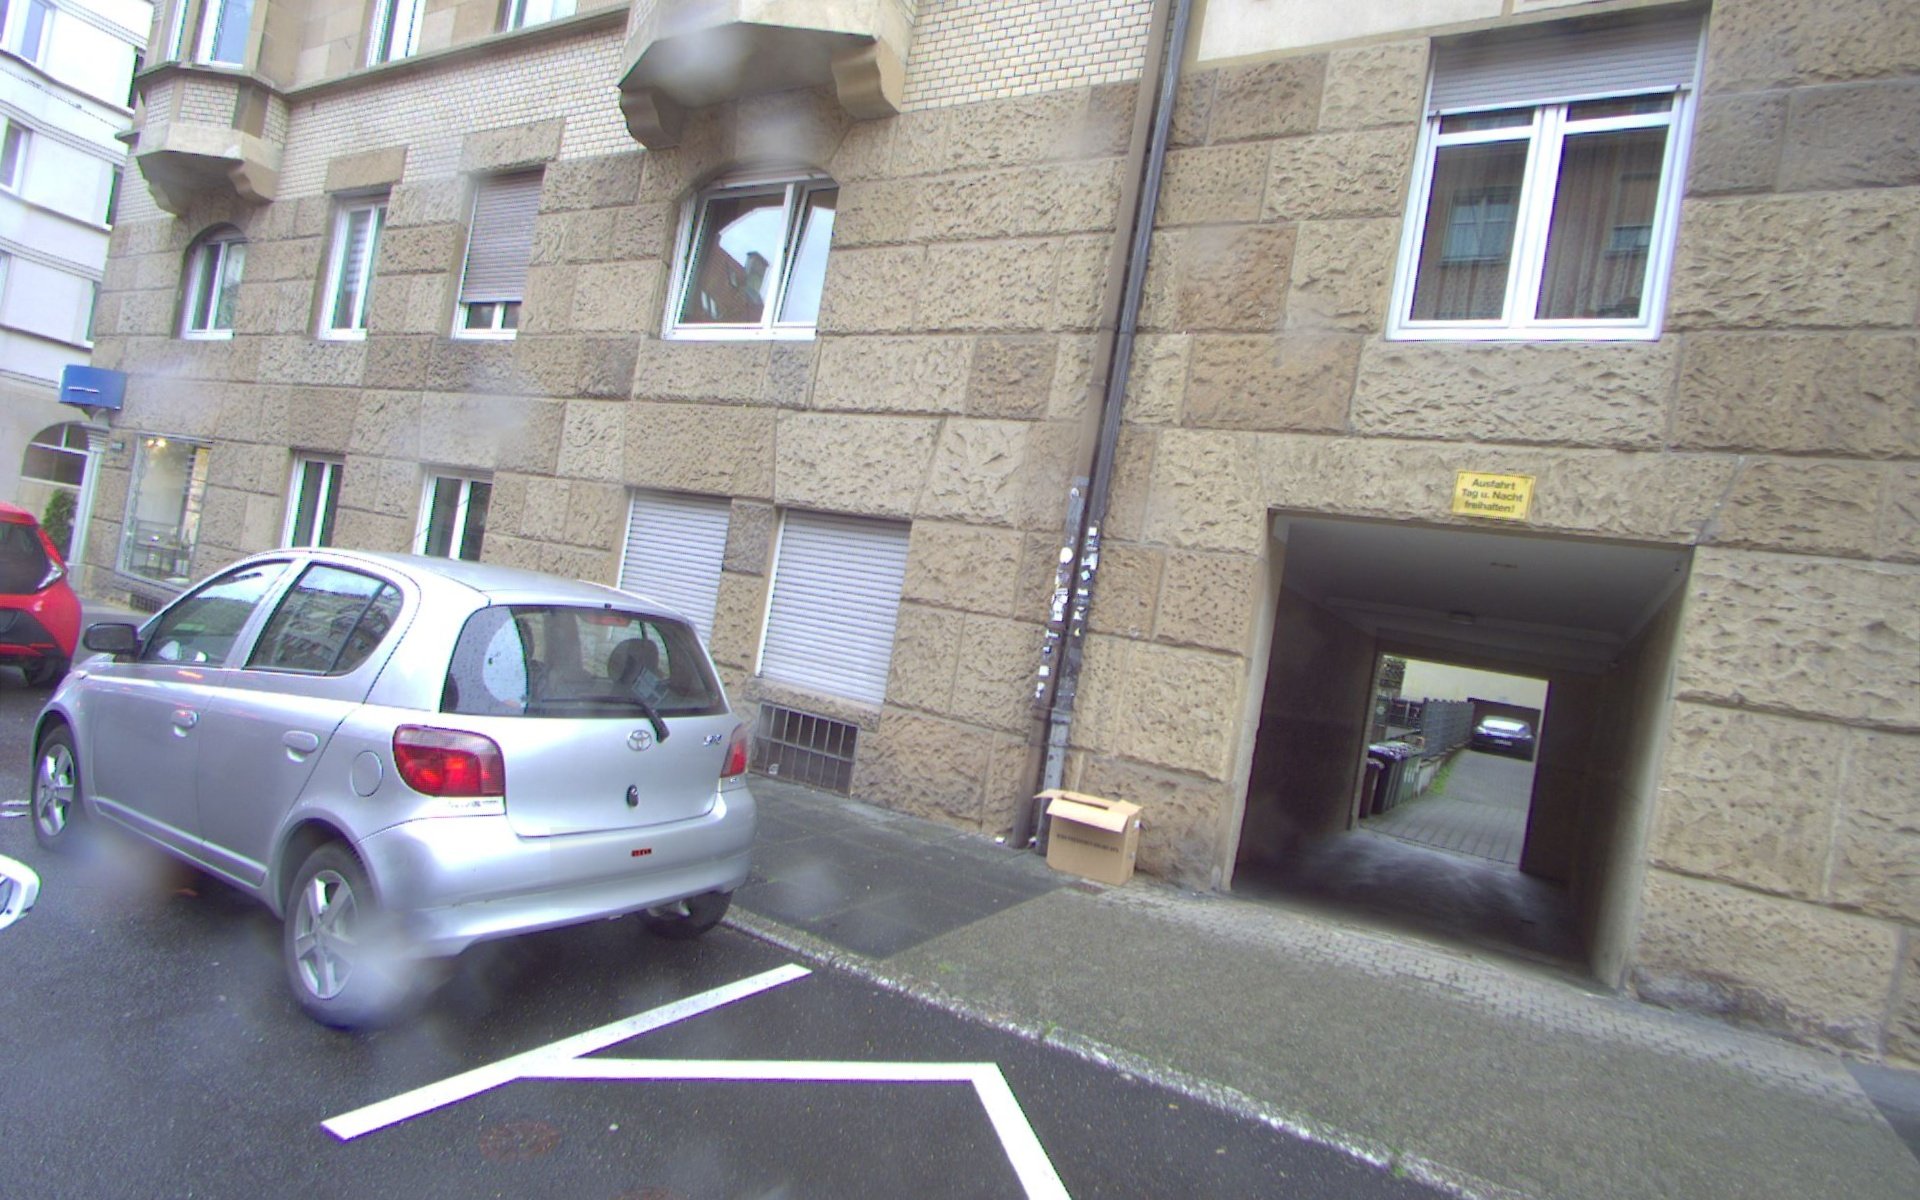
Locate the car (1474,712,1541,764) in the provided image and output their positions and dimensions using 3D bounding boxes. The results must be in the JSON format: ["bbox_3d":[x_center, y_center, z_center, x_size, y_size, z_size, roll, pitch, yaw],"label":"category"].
[{"bbox_3d":[18.395,4.588,33.863,1.764,1.362,4.015,6,-2,29],"label":"car"}]

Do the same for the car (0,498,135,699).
[{"bbox_3d":[-8.682,-0.209,8.224,3.472,1.469,1.711,7,-3,29],"label":"car"}]

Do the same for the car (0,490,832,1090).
[{"bbox_3d":[-2.484,0.491,4.346,3.464,1.504,1.597,7,-1,32],"label":"car"}]
